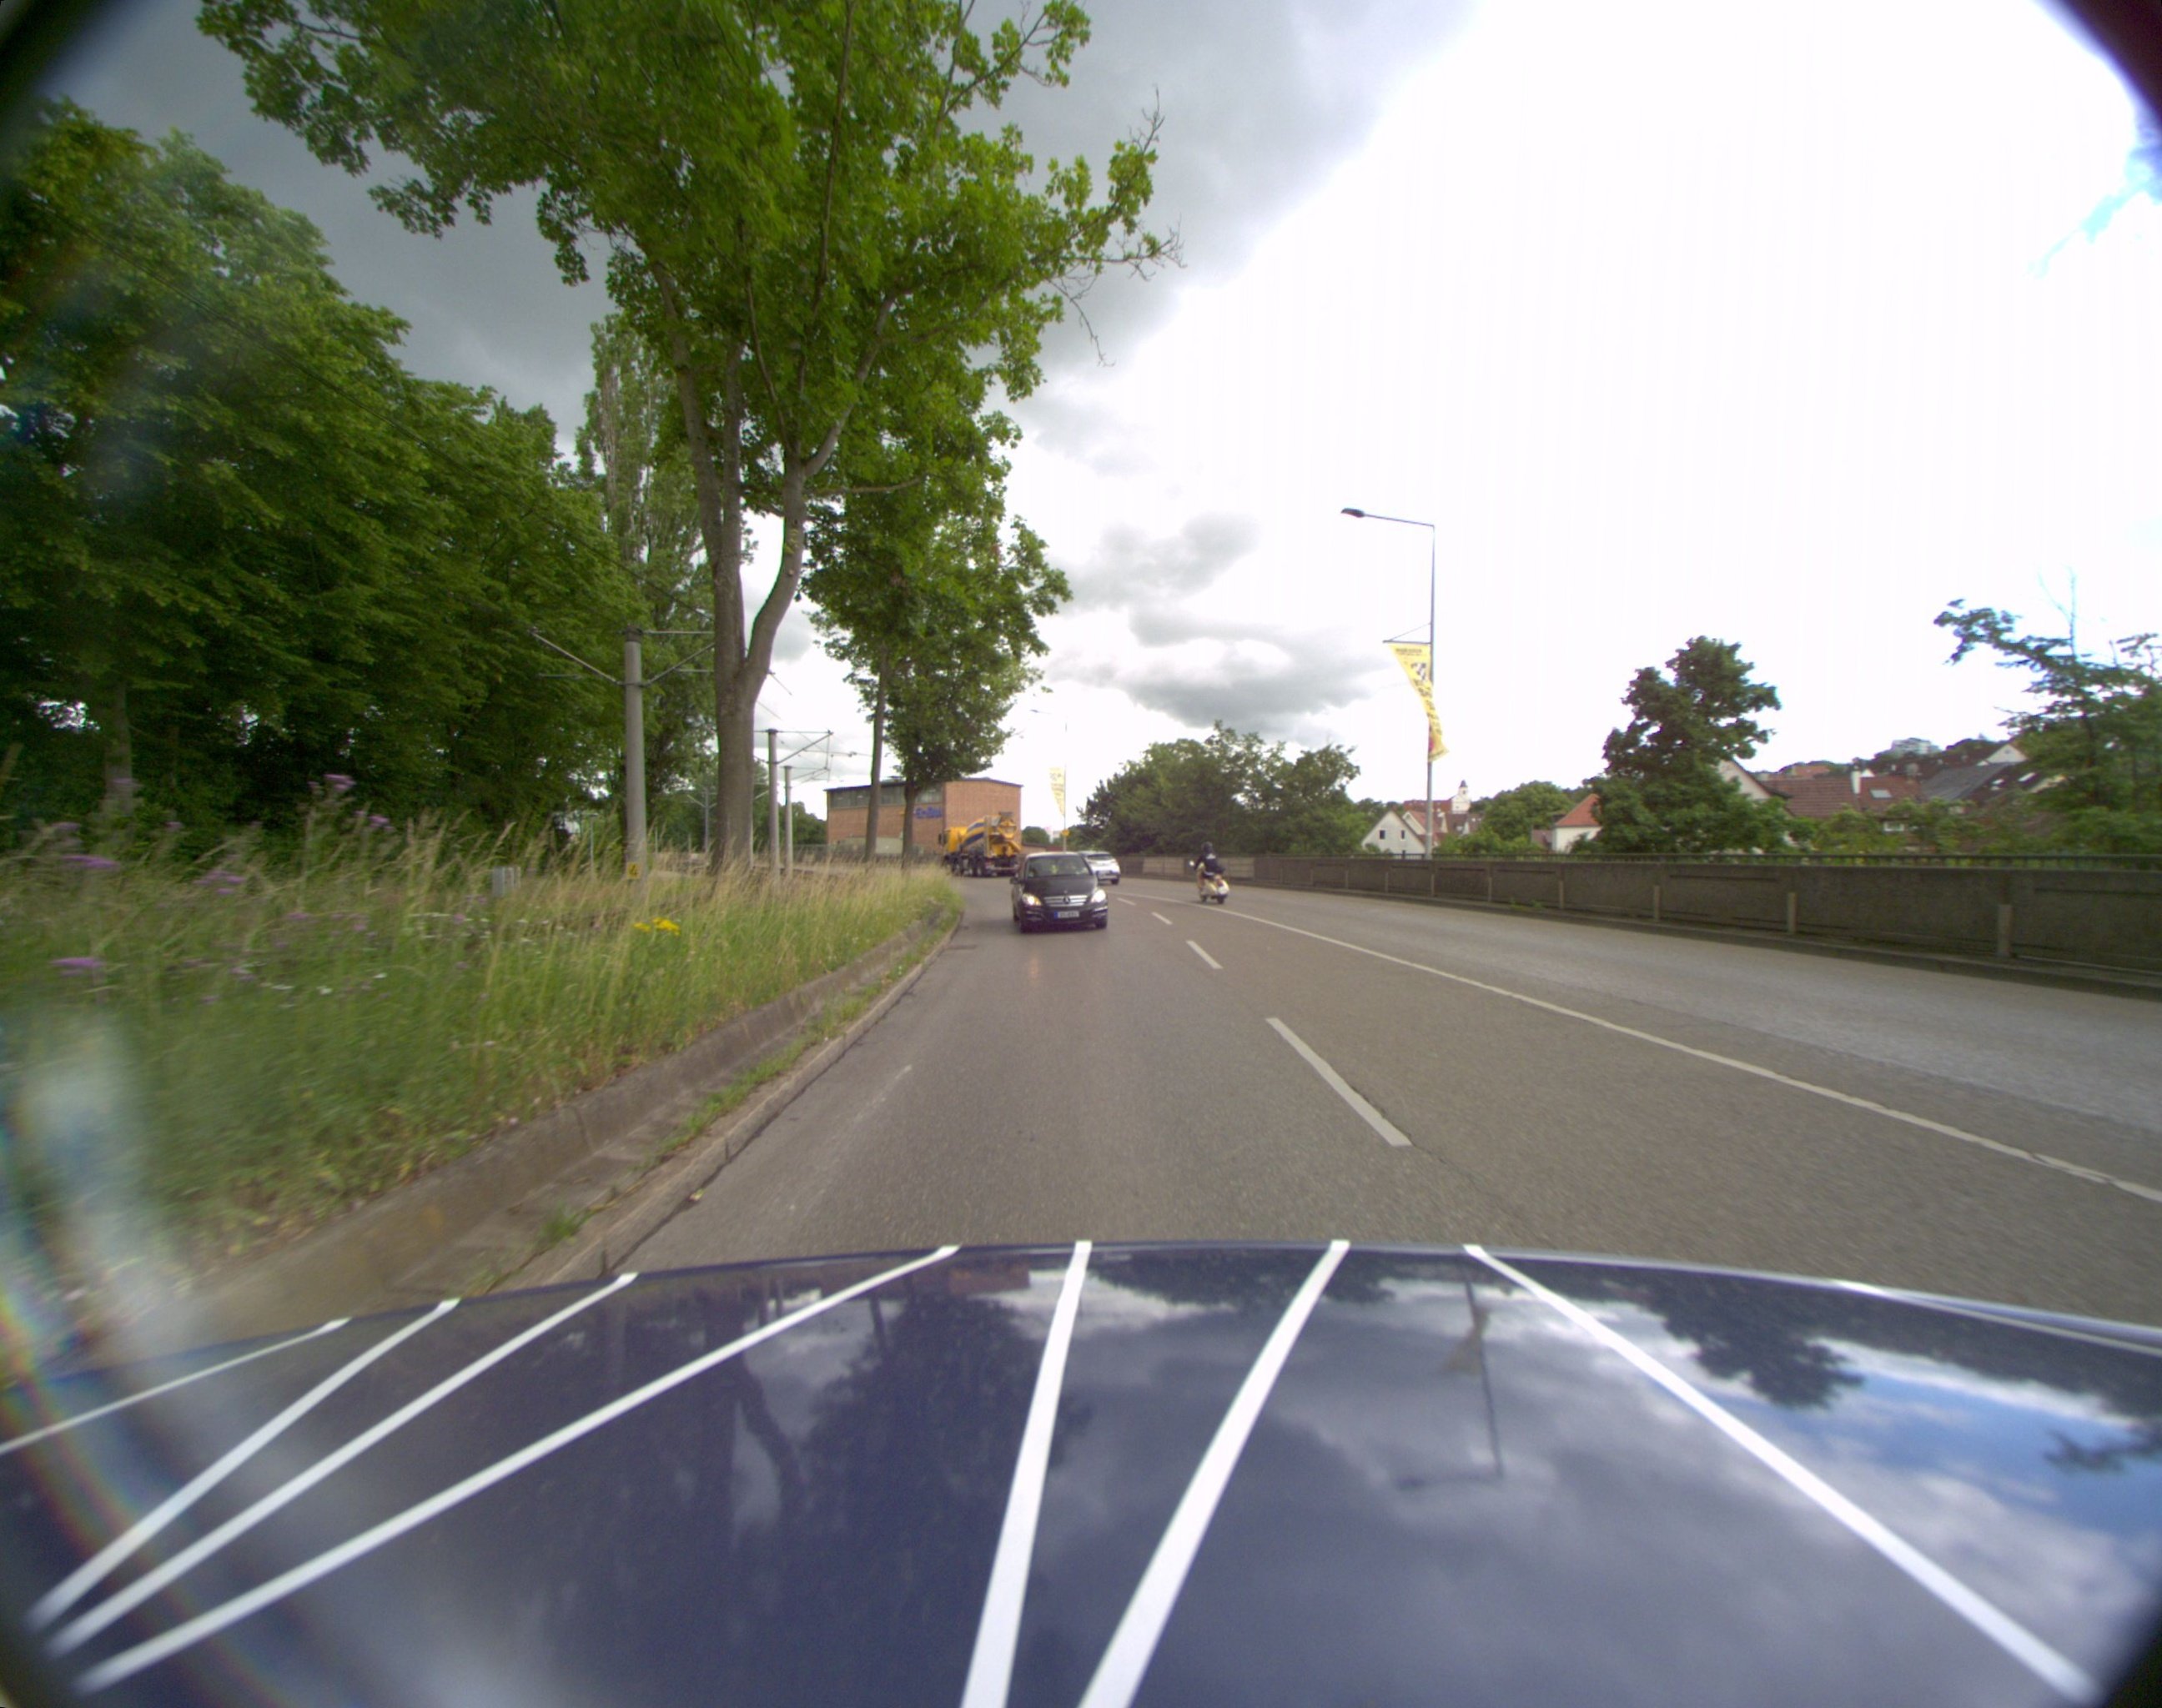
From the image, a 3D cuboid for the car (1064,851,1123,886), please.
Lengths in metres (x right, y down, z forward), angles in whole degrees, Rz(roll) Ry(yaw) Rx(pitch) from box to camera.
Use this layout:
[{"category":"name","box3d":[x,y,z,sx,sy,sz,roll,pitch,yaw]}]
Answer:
[{"category":"car","box3d":[0.511,0.642,35.114,1.753,1.478,3.649,-2,1,-15]}]

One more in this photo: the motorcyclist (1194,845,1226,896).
[{"category":"motorcyclist","box3d":[3.524,0.434,20.779,0.621,1.348,0.839,-1,1,-8]}]

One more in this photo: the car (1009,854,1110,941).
[{"category":"car","box3d":[-0.584,0.820,16.485,1.752,1.556,4.072,-2,1,-7]}]

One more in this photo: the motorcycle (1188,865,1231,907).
[{"category":"motorcycle","box3d":[3.524,0.855,20.978,0.685,1.055,1.718,-1,0,-8]}]

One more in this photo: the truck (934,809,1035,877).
[{"category":"truck","box3d":[-6.548,-0.675,49.575,2.681,3.916,10.115,-4,2,-29]}]
